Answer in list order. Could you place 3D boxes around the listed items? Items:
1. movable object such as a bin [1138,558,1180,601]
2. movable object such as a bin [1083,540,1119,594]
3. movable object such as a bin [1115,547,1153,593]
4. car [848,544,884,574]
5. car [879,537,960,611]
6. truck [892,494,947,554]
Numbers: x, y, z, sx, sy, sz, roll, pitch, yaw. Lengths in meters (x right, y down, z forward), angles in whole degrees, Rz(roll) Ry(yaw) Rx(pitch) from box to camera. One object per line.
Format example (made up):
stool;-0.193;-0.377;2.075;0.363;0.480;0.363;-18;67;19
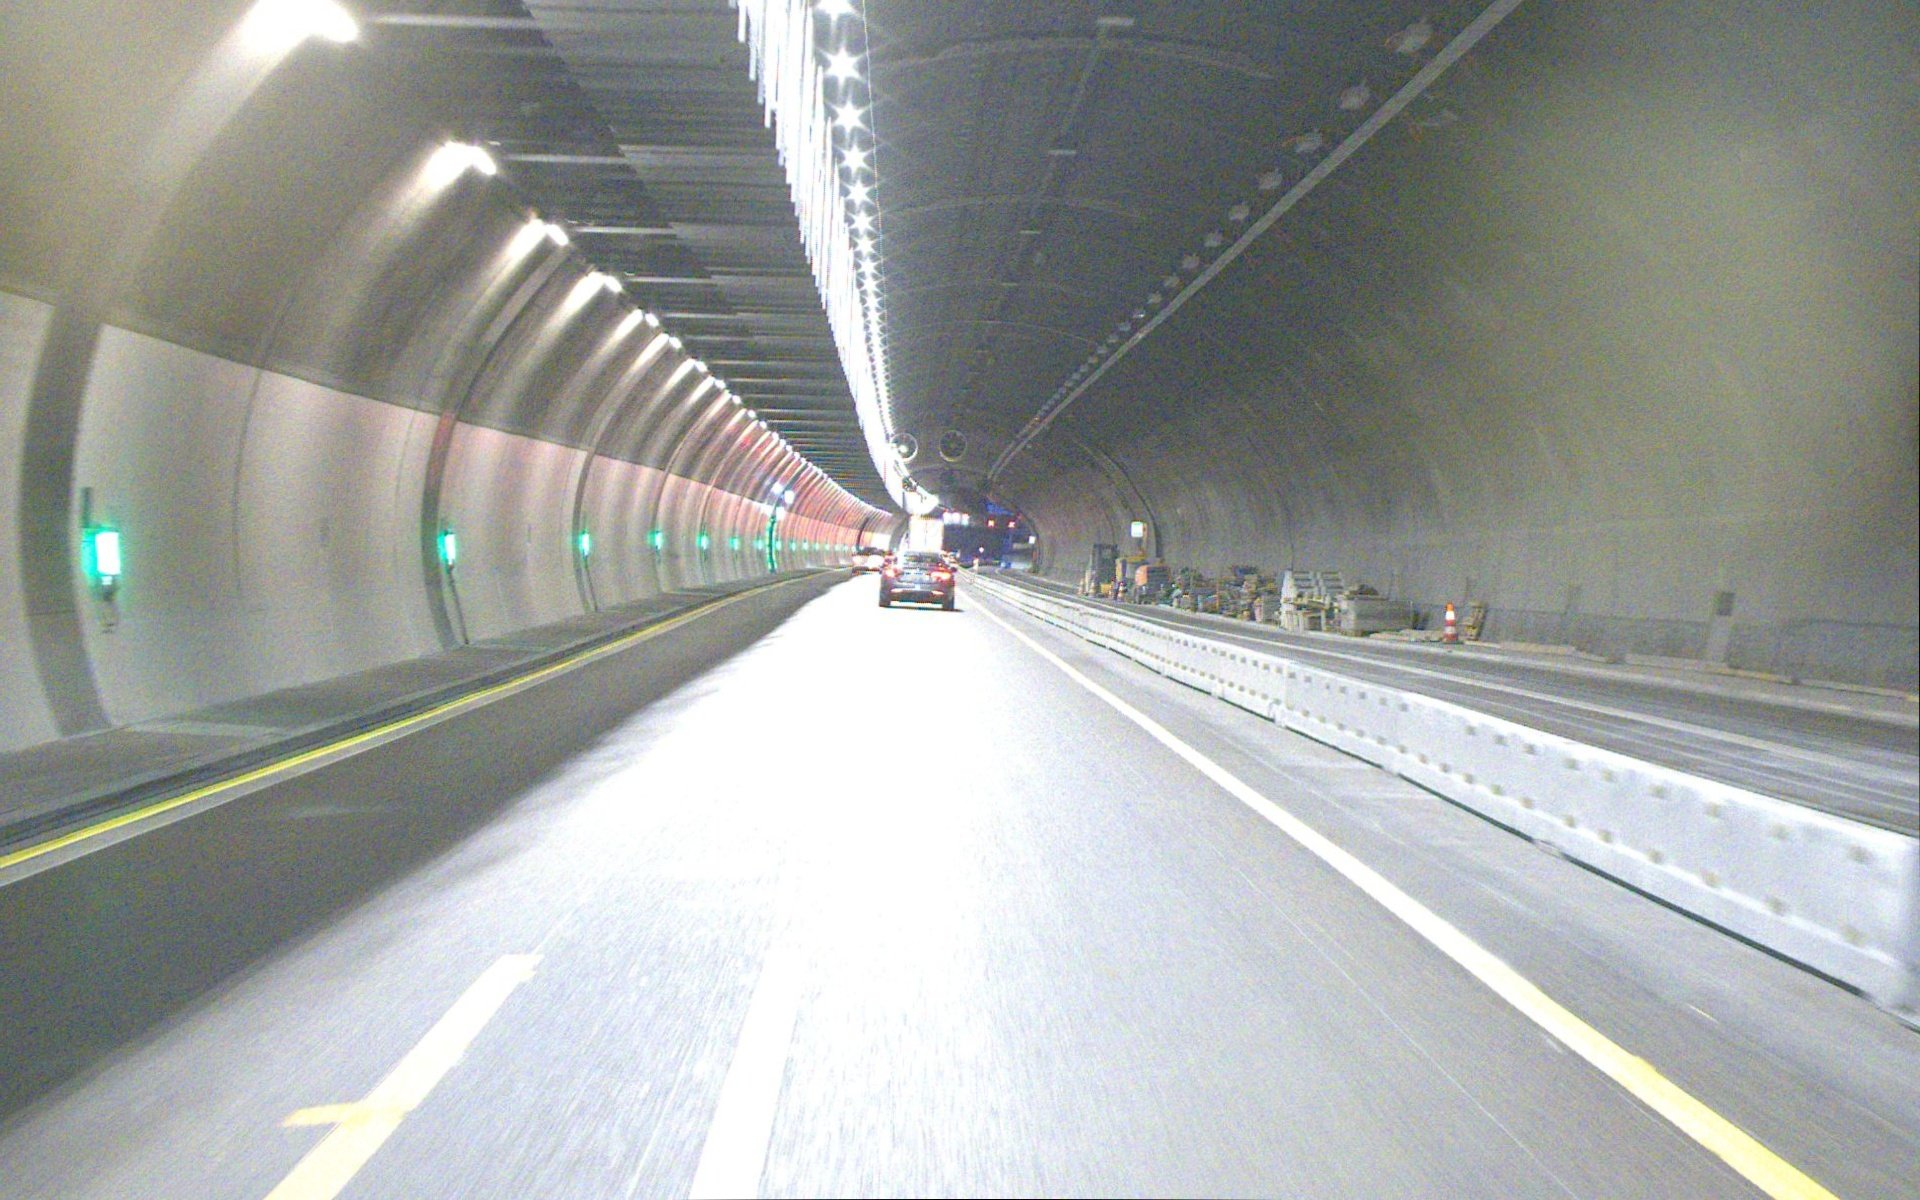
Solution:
movable object such as a bin;7.048;-0.723;121.793;1.234;1.437;2.217;3;1;-1
movable object such as a bin;5.741;-1.333;139.978;1.234;2.133;2.217;3;1;-1
movable object such as a bin;6.748;-1.156;133.108;1.234;1.713;2.217;3;1;-1
car;-5.341;-2.359;196.261;1.930;1.681;4.000;1;1;0
car;-1.044;-0.668;86.532;1.946;1.788;4.000;1;1;-2
truck;-3.148;-5.844;266.359;4.066;4.517;14.966;1;1;-1
